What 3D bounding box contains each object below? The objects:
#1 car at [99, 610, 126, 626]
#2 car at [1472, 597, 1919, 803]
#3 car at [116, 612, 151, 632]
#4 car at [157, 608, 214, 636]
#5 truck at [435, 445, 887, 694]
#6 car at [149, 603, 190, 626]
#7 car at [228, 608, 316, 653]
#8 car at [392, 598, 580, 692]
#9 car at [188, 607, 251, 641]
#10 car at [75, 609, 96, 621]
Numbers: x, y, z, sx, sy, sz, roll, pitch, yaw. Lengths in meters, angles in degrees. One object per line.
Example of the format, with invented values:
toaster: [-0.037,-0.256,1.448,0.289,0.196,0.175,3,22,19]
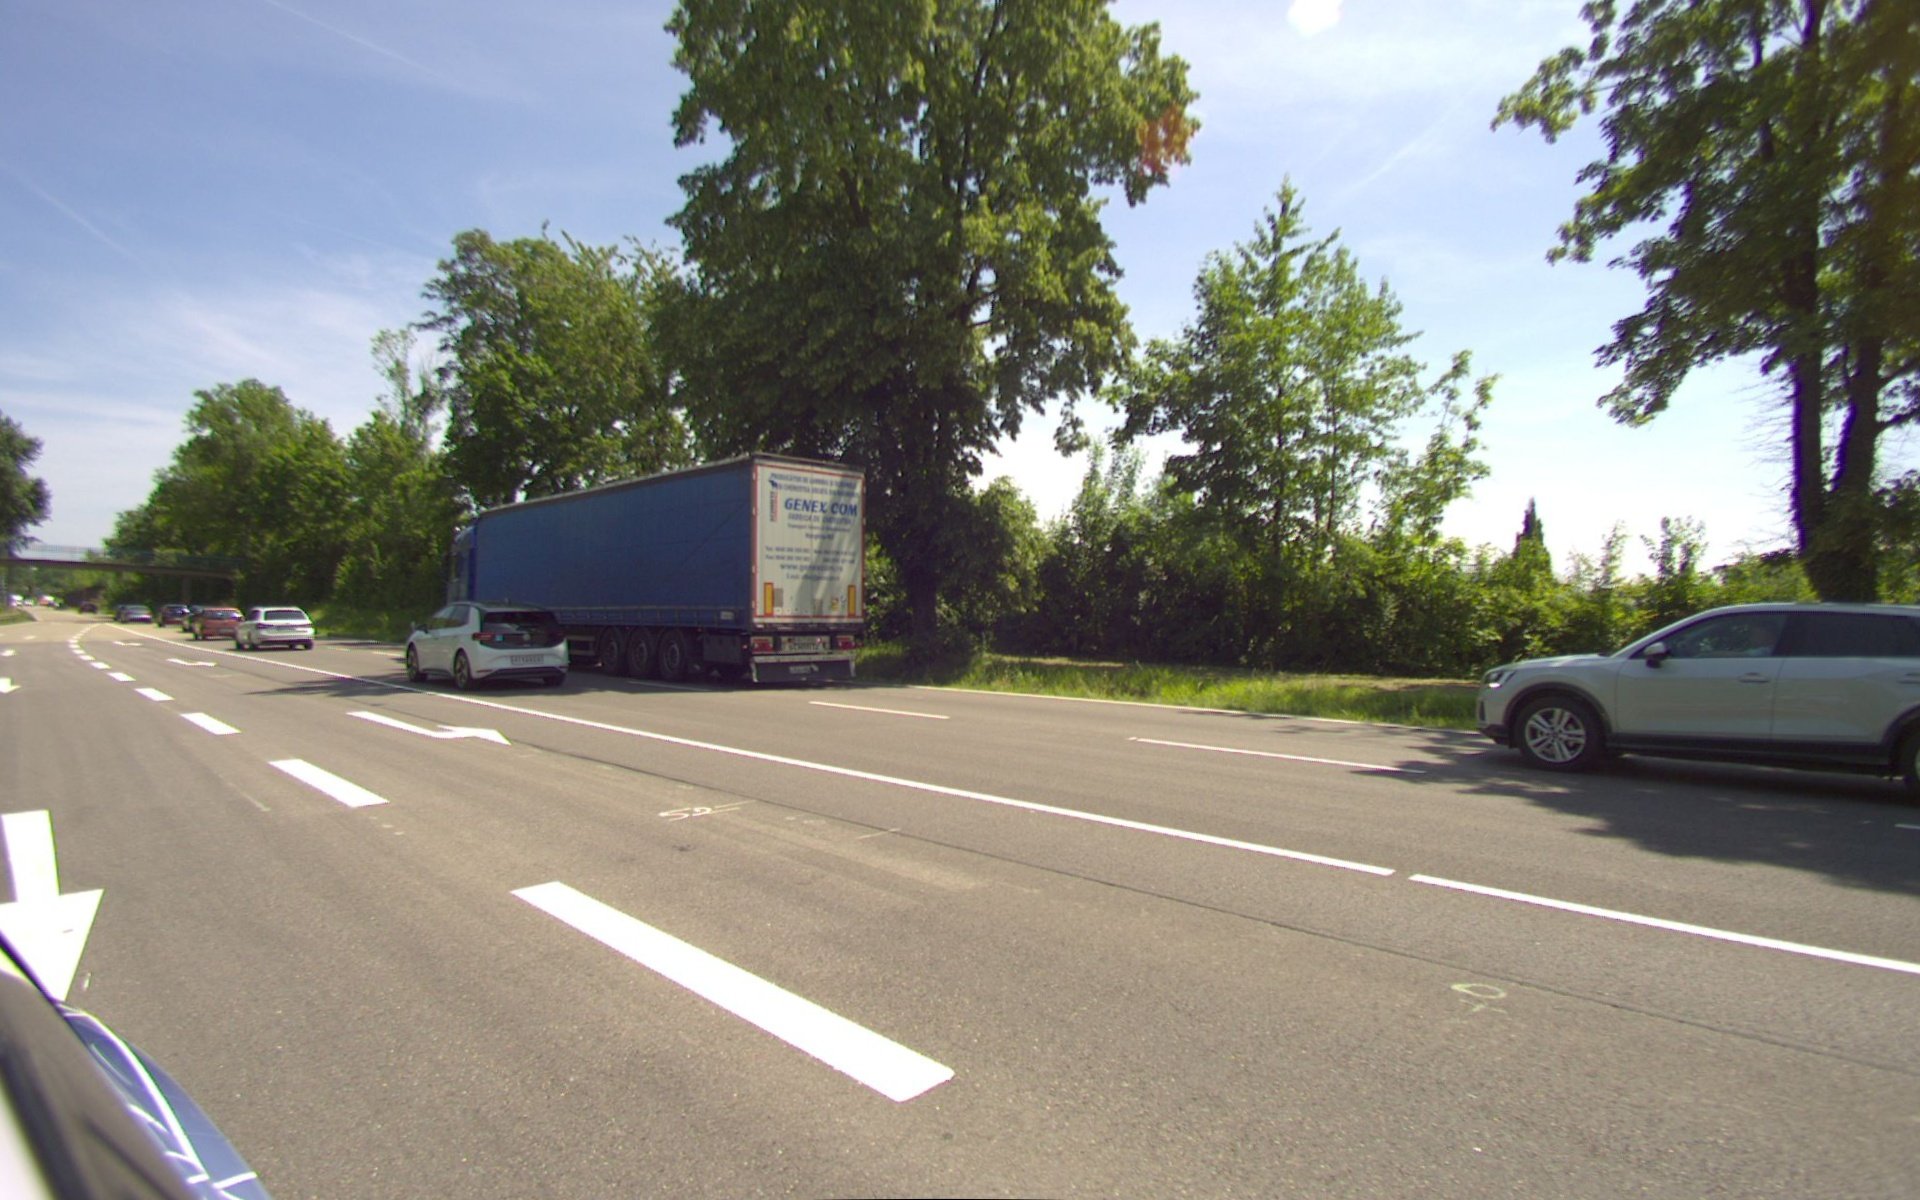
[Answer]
car: [-81.695,1.687,97.528,1.746,1.397,4.003,-1,1,-44]
car: [6.753,0.716,8.340,1.740,1.438,4.183,1,-1,-43]
car: [-65.065,1.699,79.654,1.746,1.397,4.003,-1,1,-44]
car: [-42.670,1.237,55.721,1.897,1.492,4.689,2,-2,-45]
truck: [-8.211,-0.443,24.076,2.934,4.208,16.586,1,-1,-44]
car: [-52.758,0.977,67.544,4.018,1.449,1.623,-1,0,44]
car: [-23.646,0.993,34.709,1.680,1.425,4.565,0,-1,-45]
car: [-8.833,0.798,18.713,4.187,1.534,1.772,-2,-2,44]
car: [-32.838,1.041,44.875,1.746,1.457,3.779,2,-2,-44]
car: [-116.562,1.974,134.865,1.881,1.520,3.767,1,-1,-44]
